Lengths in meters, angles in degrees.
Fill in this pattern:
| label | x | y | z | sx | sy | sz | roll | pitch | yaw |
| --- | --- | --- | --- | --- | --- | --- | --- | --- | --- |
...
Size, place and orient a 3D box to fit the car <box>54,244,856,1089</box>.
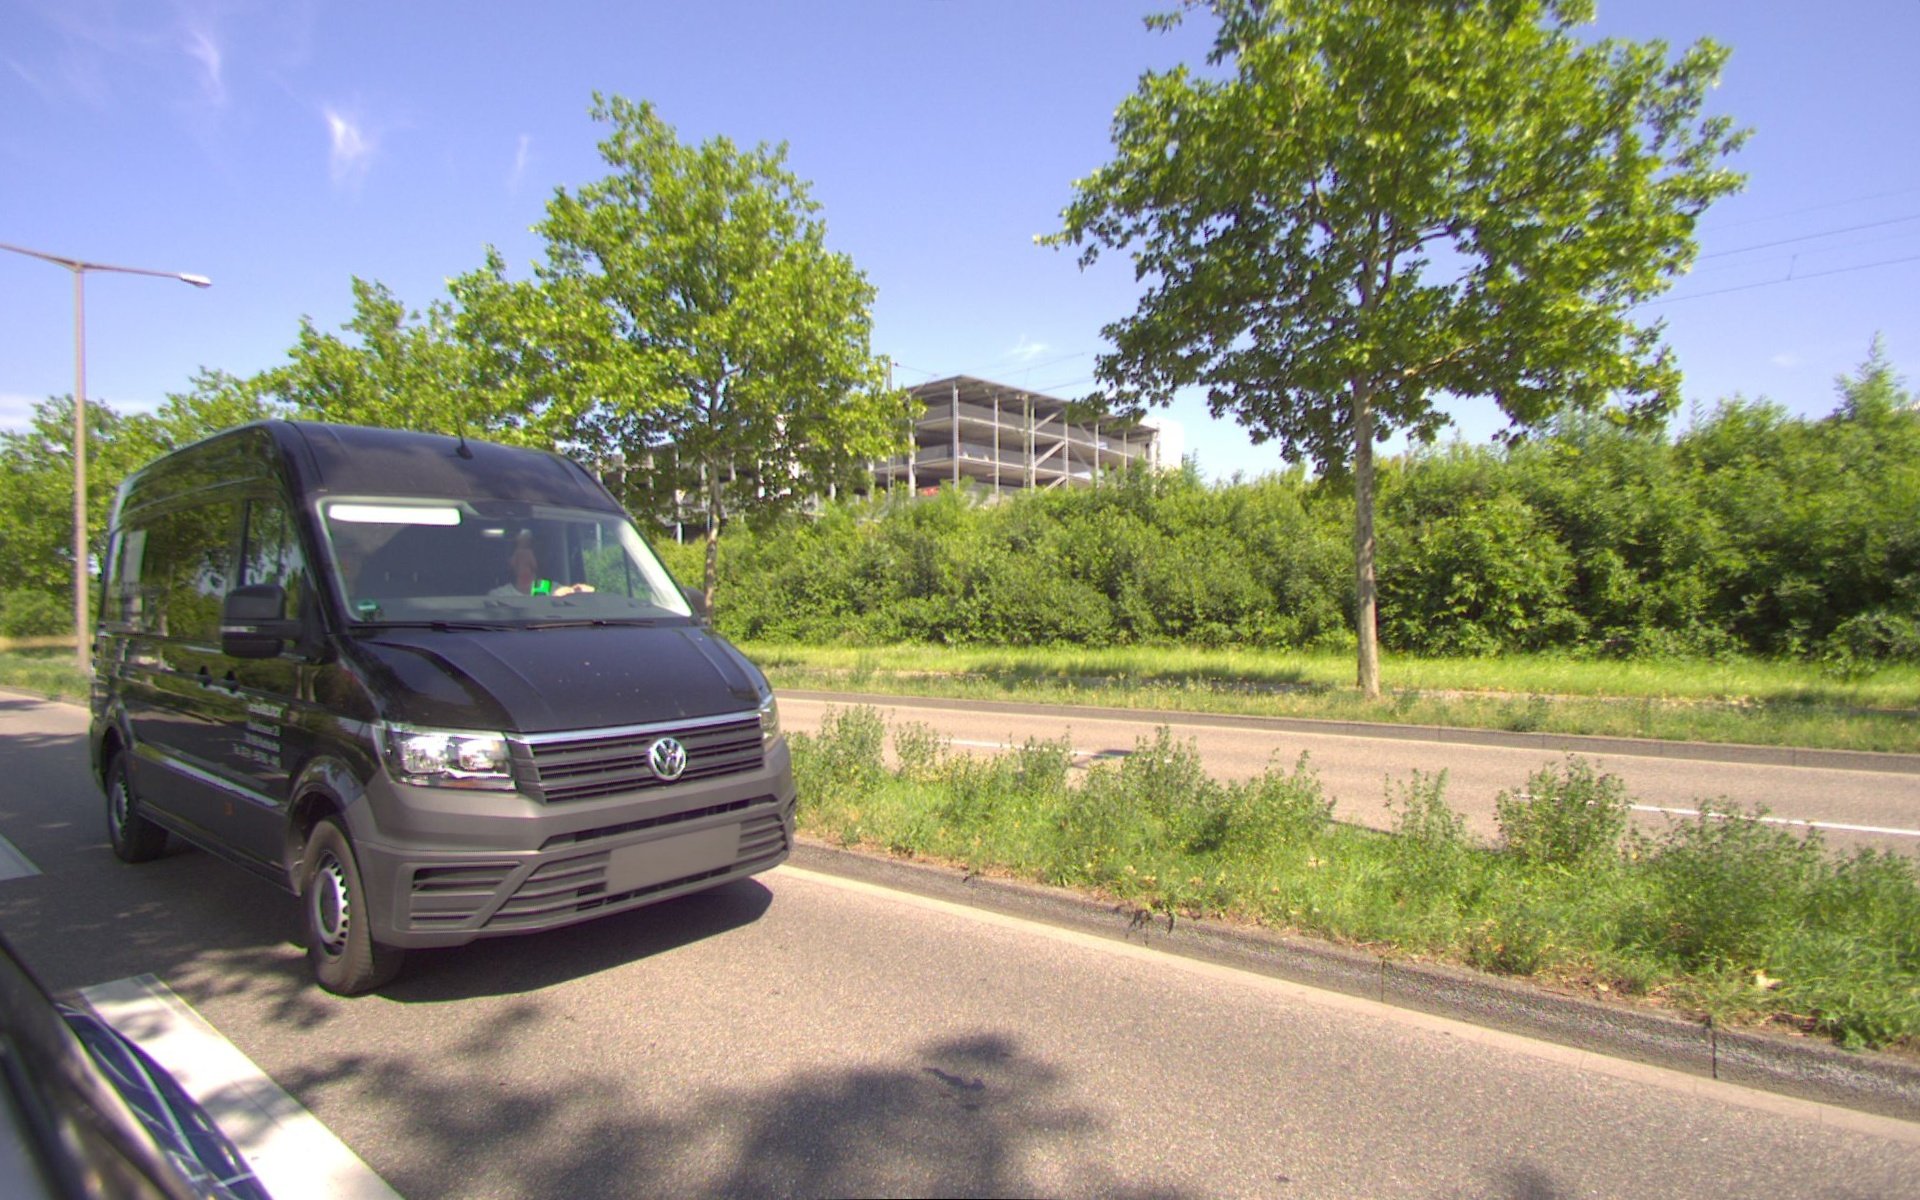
| label | x | y | z | sx | sy | sz | roll | pitch | yaw |
| --- | --- | --- | --- | --- | --- | --- | --- | --- | --- |
| car | -3.471 | 0.251 | 5.939 | 6.165 | 2.627 | 1.995 | -1 | 0 | 41 |
